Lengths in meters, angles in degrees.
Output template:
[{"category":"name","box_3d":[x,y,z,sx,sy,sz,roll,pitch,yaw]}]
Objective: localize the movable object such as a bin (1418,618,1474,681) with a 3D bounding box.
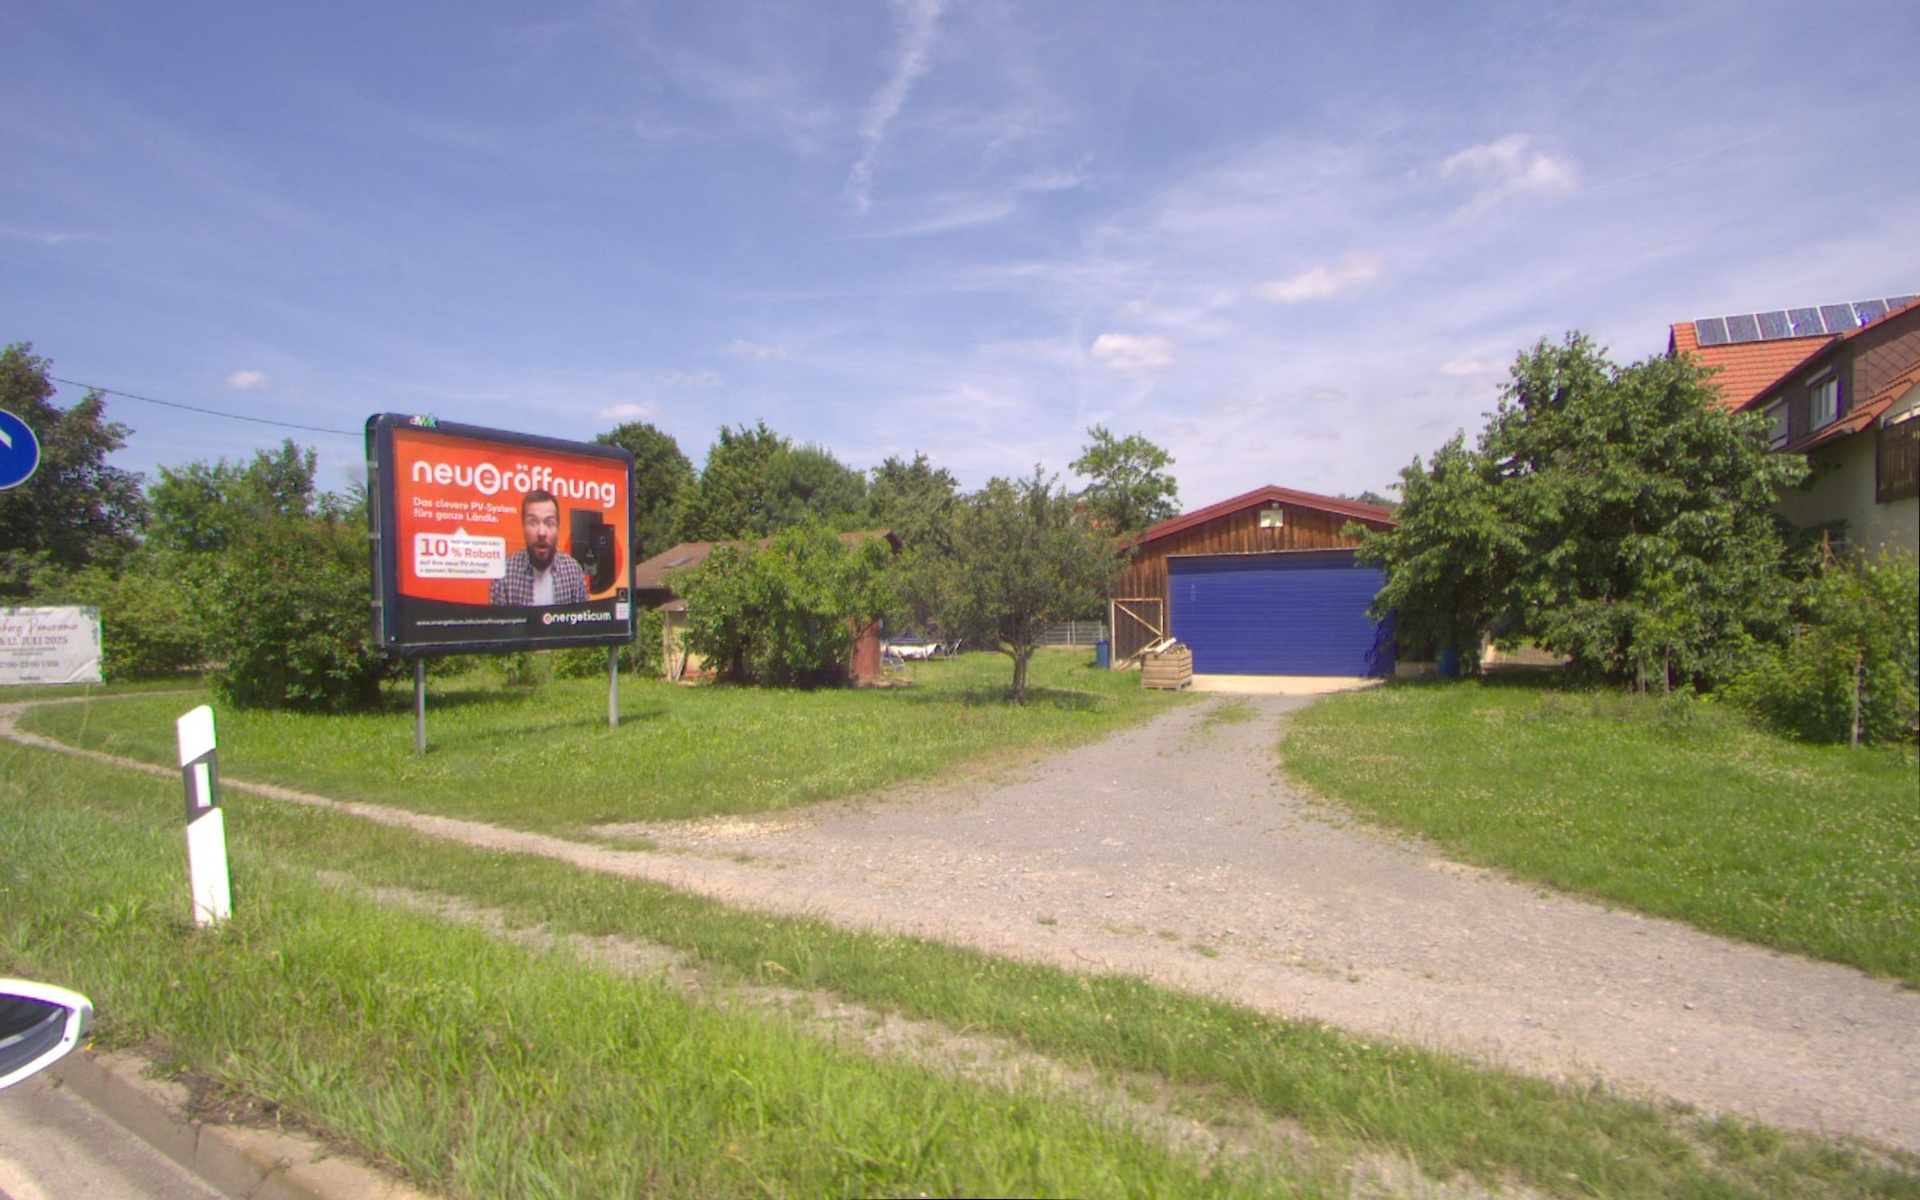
[{"category":"movable object such as a bin","box_3d":[11.419,1.144,23.527,1.049,1.415,1.271,0,0,33]}]

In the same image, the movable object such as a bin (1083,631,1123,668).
[{"category":"movable object such as a bin","box_3d":[4.234,1.446,29.581,1.044,1.046,1.040,0,0,17]}]
